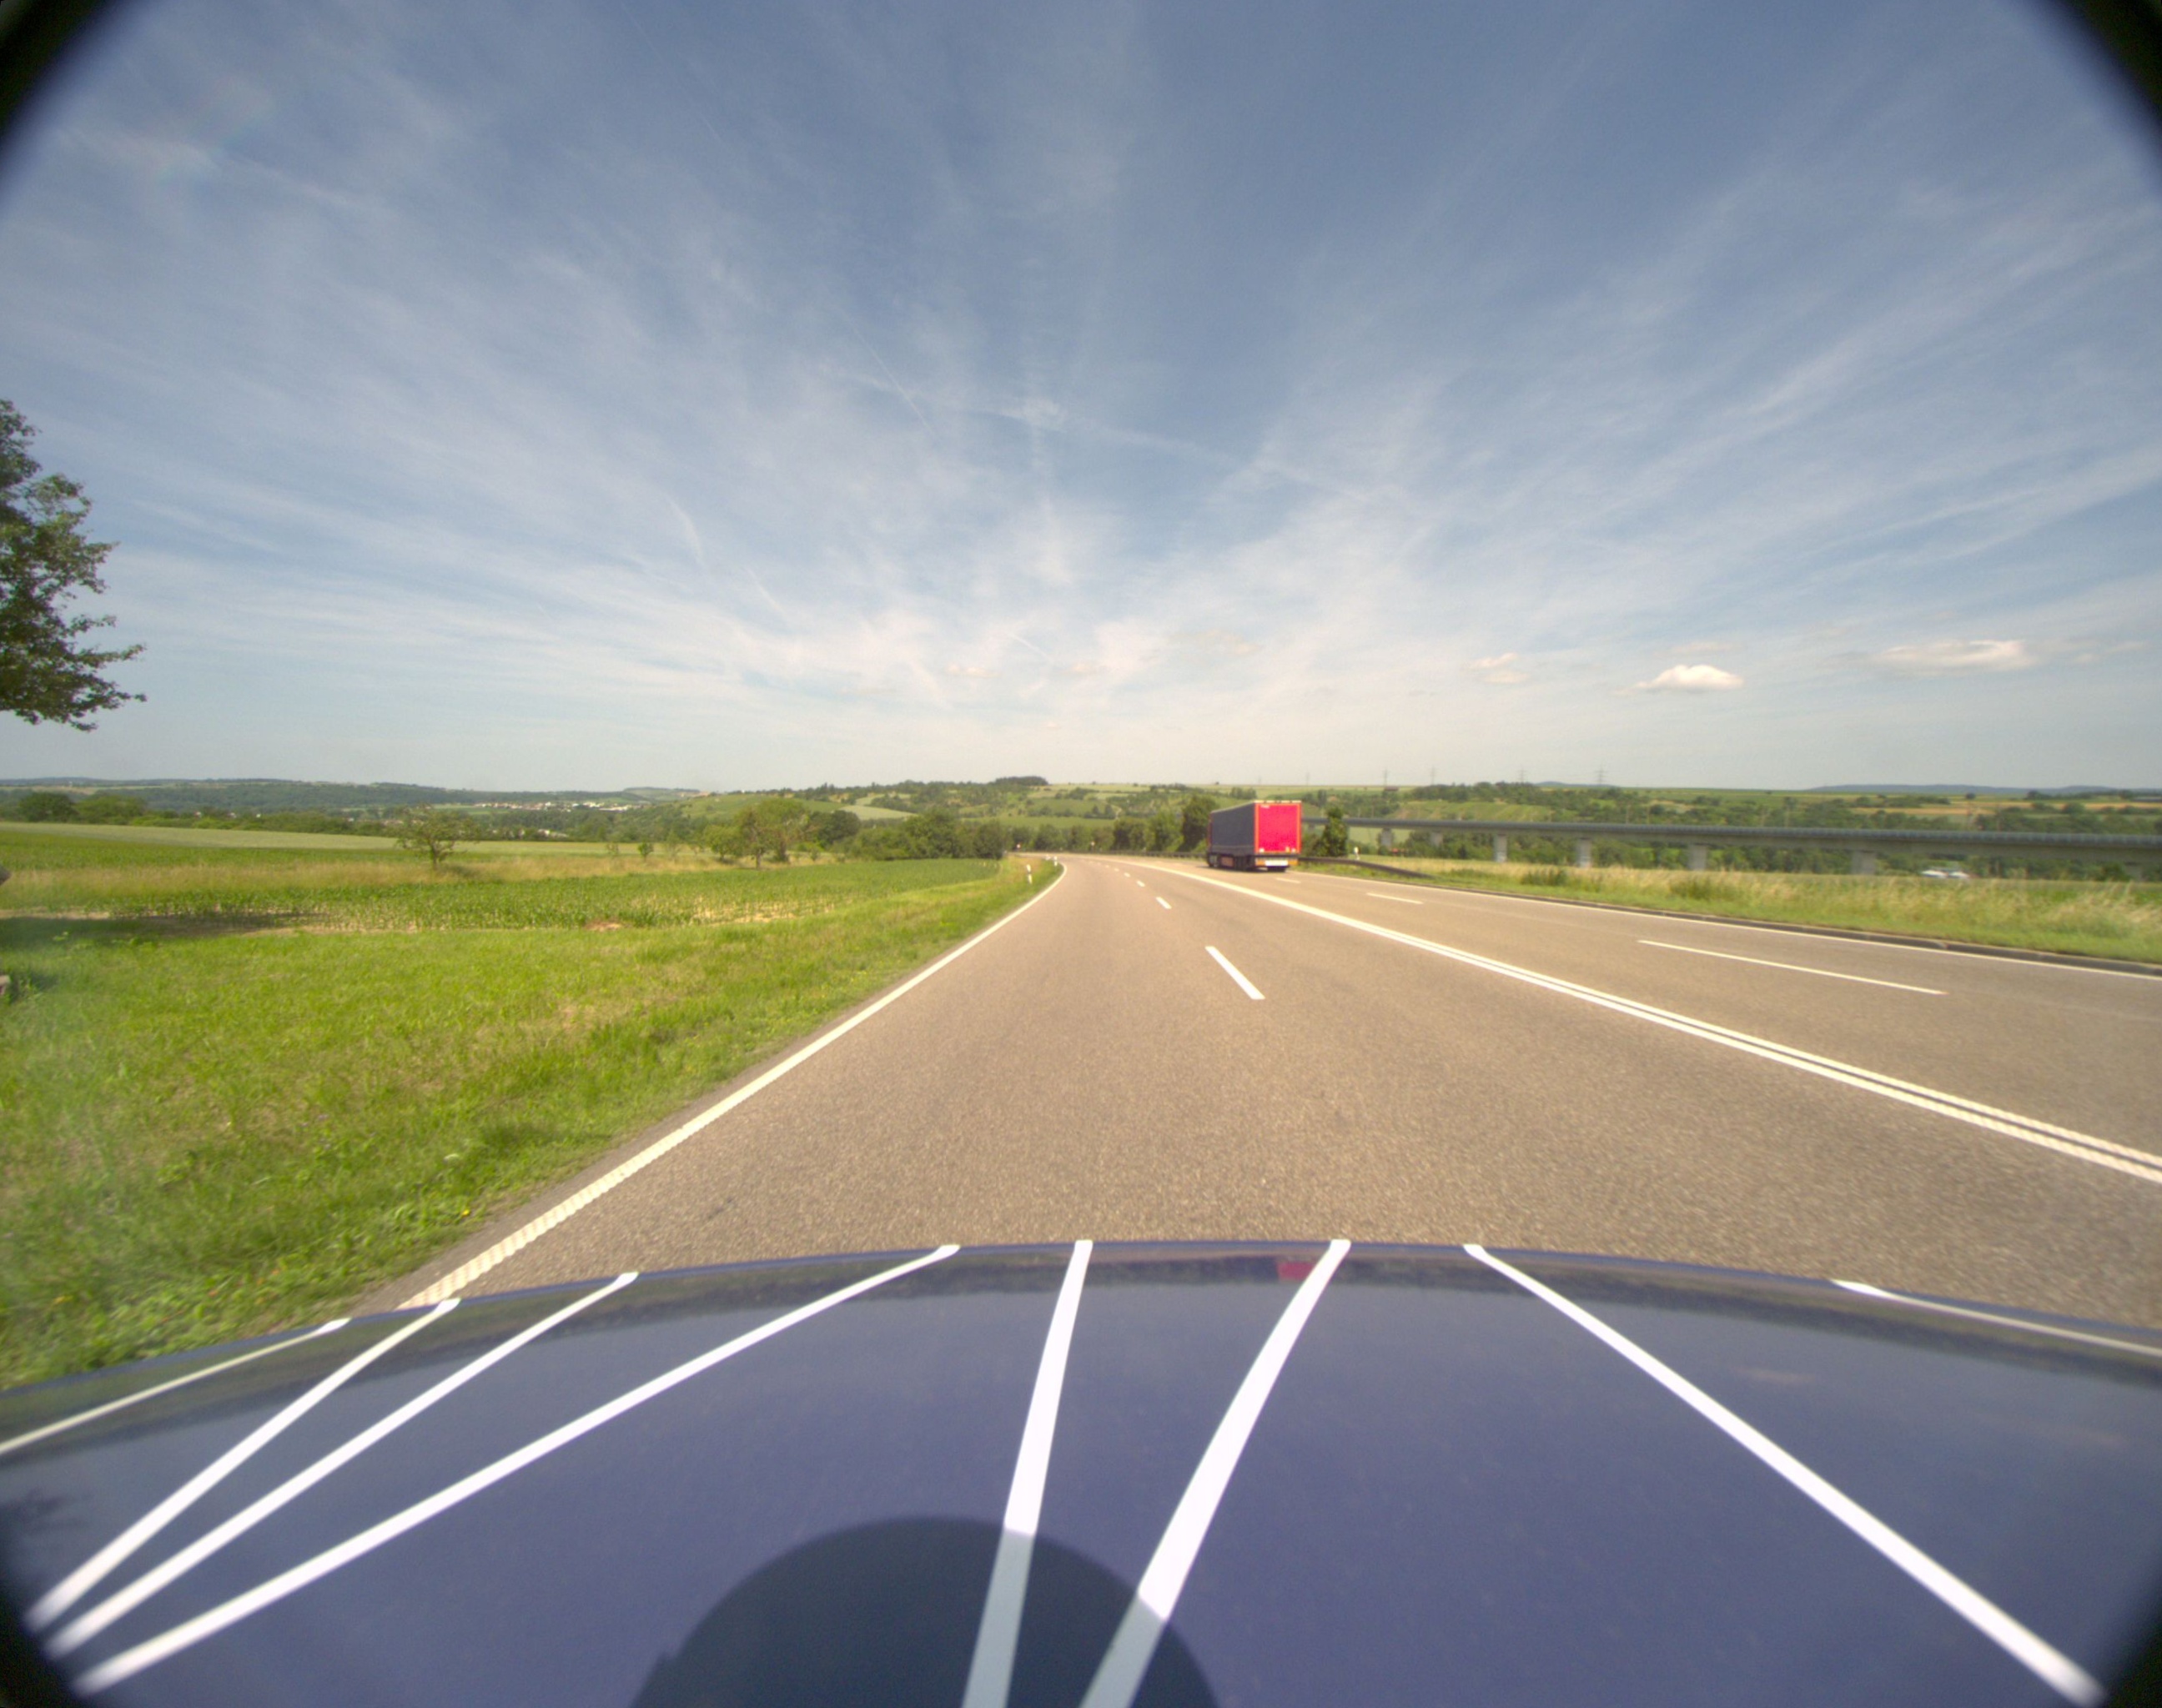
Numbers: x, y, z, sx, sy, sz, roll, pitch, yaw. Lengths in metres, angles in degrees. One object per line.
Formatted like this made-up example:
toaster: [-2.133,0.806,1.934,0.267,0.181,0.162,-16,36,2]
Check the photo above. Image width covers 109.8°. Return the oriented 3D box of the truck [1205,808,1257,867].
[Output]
truck: [10.900,-1.204,55.597,2.623,4.078,6.087,0,1,0]

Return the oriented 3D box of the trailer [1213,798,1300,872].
trailer: [10.825,-1.128,48.599,2.551,4.078,13.581,0,1,1]
